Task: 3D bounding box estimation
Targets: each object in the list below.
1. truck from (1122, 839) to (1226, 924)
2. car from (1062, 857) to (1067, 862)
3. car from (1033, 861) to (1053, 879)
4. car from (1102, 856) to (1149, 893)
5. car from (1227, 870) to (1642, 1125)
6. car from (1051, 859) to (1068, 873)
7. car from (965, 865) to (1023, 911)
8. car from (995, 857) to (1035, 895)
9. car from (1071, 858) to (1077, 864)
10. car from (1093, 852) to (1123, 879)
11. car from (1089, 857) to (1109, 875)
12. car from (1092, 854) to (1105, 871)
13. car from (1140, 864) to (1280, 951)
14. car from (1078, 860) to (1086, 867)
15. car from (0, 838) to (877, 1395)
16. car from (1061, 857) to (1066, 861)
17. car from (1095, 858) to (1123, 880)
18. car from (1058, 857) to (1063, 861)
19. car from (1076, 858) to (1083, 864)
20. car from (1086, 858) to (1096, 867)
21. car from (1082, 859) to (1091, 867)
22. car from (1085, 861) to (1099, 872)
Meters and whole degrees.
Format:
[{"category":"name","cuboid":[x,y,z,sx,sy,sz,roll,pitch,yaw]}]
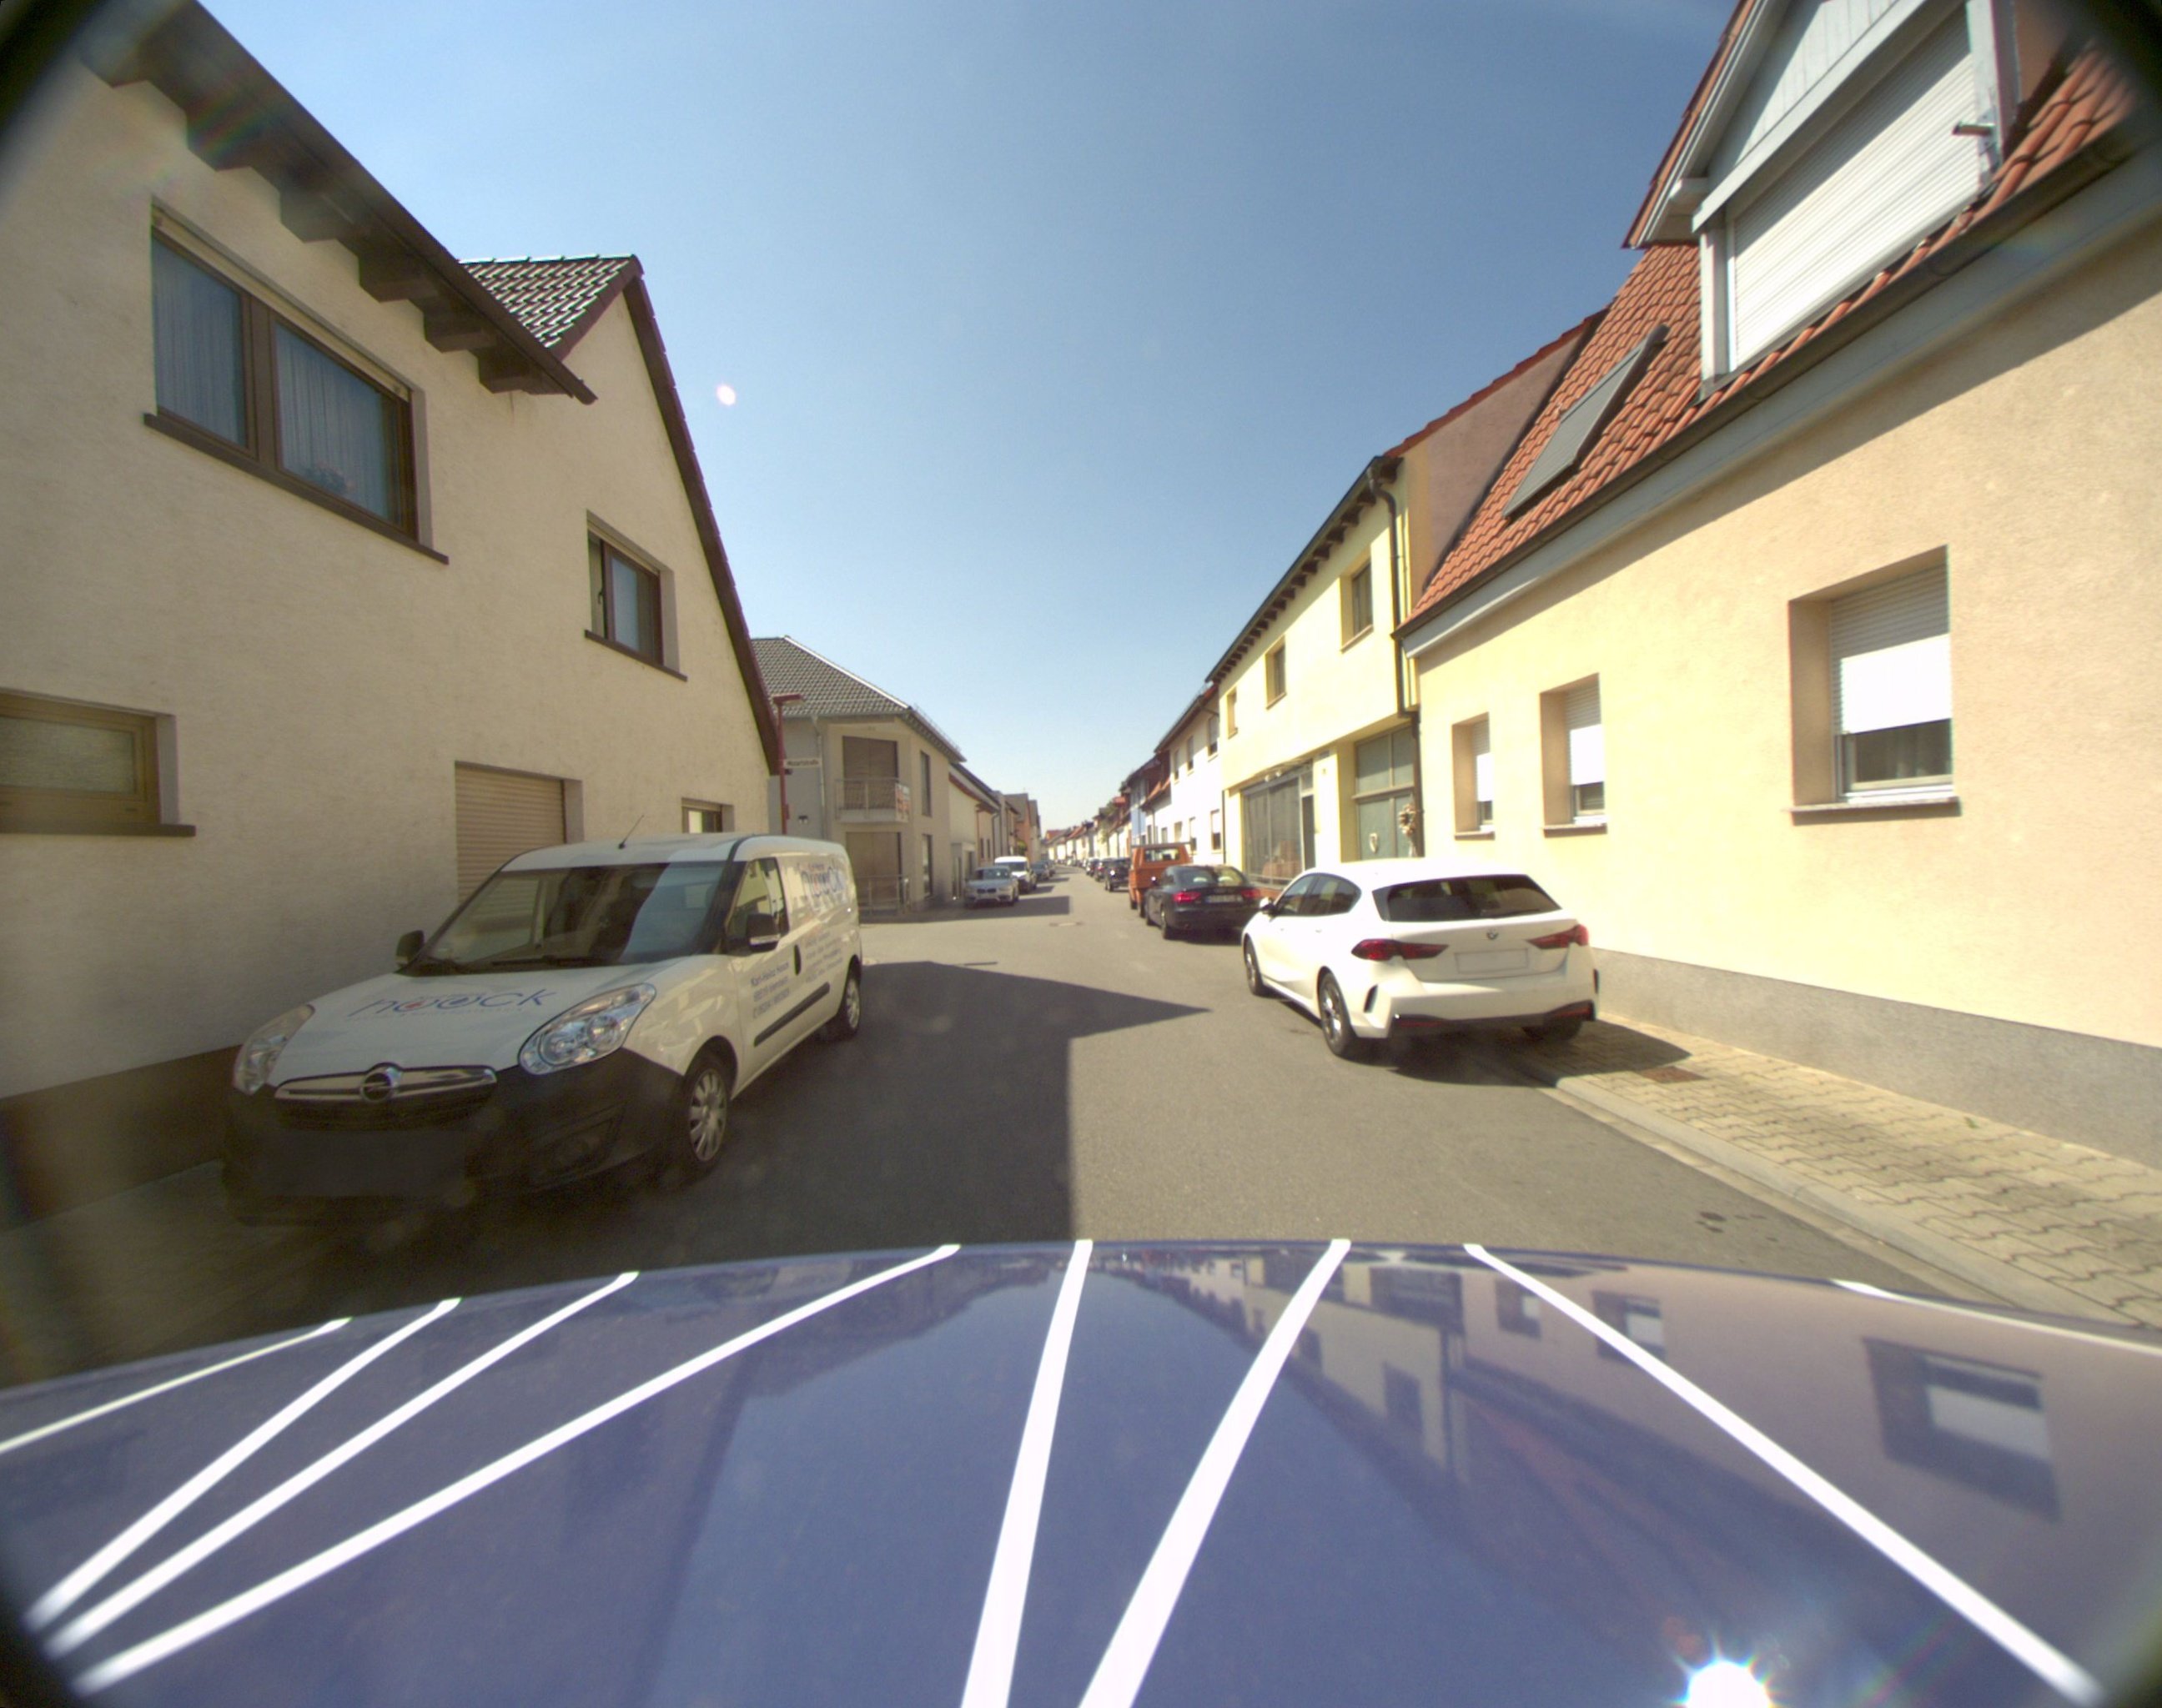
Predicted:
[{"category":"truck","cuboid":[2.404,0.657,21.041,2.188,2.002,5.079,-1,0,0]},{"category":"car","cuboid":[-4.487,1.420,203.871,1.295,1.177,2.963,-1,0,-1]},{"category":"car","cuboid":[-3.192,1.307,64.131,1.522,1.417,3.863,-1,0,-2]},{"category":"car","cuboid":[2.041,0.949,36.115,1.849,1.604,3.999,-1,0,-2]},{"category":"car","cuboid":[2.630,0.948,6.877,1.787,1.445,4.215,-1,0,0]},{"category":"car","cuboid":[-2.509,1.371,88.412,1.849,1.523,3.548,-1,0,-2]},{"category":"car","cuboid":[-3.096,1.182,27.752,1.638,1.360,3.927,-3,1,-1]},{"category":"car","cuboid":[-3.162,1.021,36.960,1.684,1.719,3.786,-1,0,-2]},{"category":"car","cuboid":[-1.596,1.574,172.624,1.295,1.177,2.963,-1,0,-1]},{"category":"car","cuboid":[2.162,0.872,61.685,1.999,2.002,3.997,-2,1,-4]},{"category":"car","cuboid":[1.615,1.107,69.681,1.677,1.565,4.108,-1,0,-1]},{"category":"car","cuboid":[1.963,0.962,85.016,1.295,1.820,2.963,-1,0,-1]},{"category":"car","cuboid":[2.409,0.949,15.457,1.927,1.386,4.630,1,0,-2]},{"category":"car","cuboid":[0.146,1.627,133.152,1.295,1.177,2.963,-1,0,-1]},{"category":"car","cuboid":[-2.868,0.892,5.079,1.815,1.814,4.849,-4,1,-3]},{"category":"car","cuboid":[-4.843,1.365,211.927,1.295,1.177,2.963,-1,0,-1]},{"category":"car","cuboid":[1.913,1.031,53.530,1.724,1.493,4.214,-1,0,-1]},{"category":"car","cuboid":[-6.088,1.390,223.716,1.295,1.177,2.963,-1,0,-1]},{"category":"car","cuboid":[-0.292,1.455,155.938,1.295,1.177,2.963,-1,0,-1]},{"category":"car","cuboid":[1.419,1.214,105.991,1.295,1.177,2.963,-1,0,-1]},{"category":"car","cuboid":[0.790,1.373,117.974,1.295,1.177,2.963,-1,0,-1]},{"category":"car","cuboid":[1.091,1.284,77.162,1.295,1.070,2.764,-1,0,-1]}]
